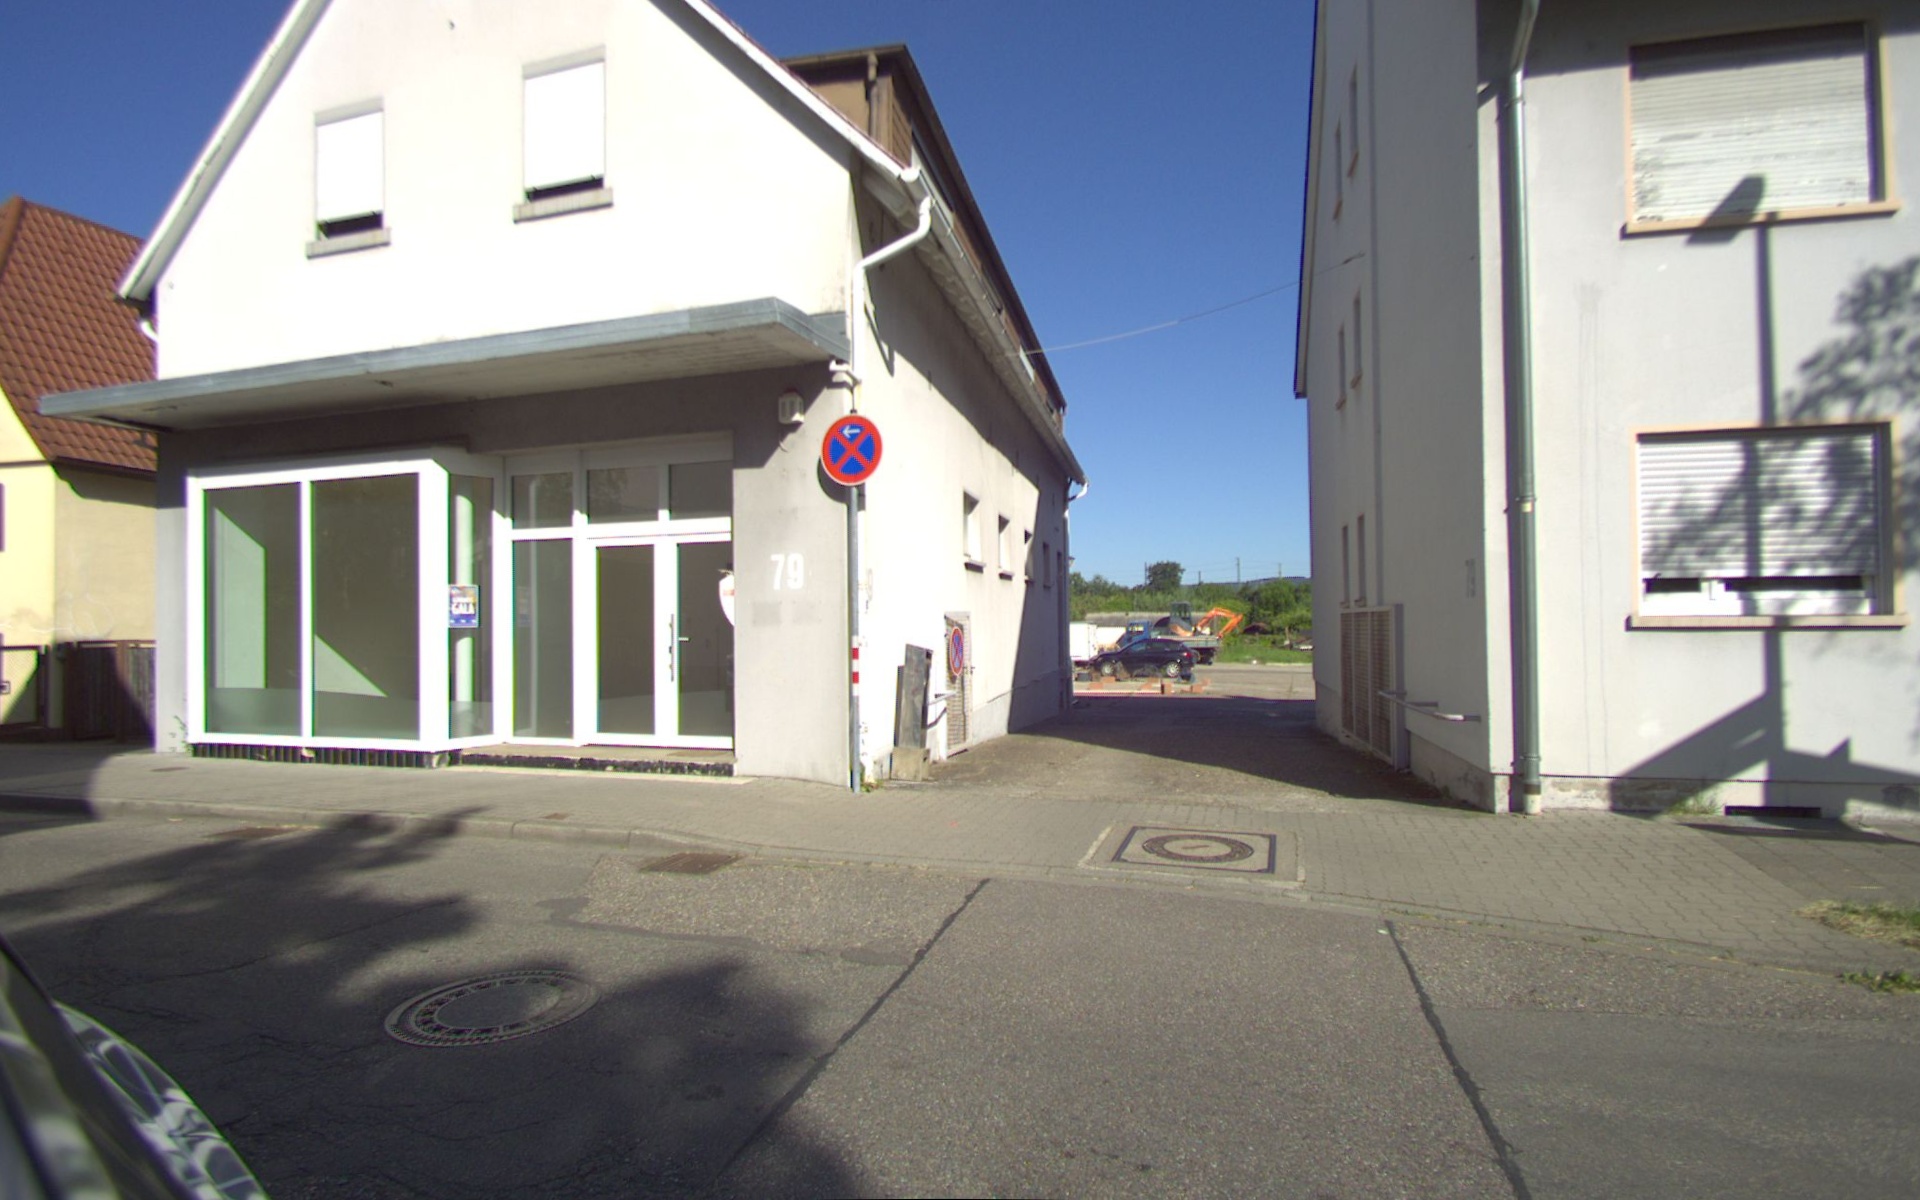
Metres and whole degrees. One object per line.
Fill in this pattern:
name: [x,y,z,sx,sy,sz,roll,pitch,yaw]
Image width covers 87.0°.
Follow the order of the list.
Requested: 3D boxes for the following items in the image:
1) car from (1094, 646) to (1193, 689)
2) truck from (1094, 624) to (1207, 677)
car: [8.284,3.030,45.530,4.224,1.782,1.939,-1,-2,16]
truck: [10.954,2.879,58.274,6.189,2.972,2.113,-1,-3,21]
